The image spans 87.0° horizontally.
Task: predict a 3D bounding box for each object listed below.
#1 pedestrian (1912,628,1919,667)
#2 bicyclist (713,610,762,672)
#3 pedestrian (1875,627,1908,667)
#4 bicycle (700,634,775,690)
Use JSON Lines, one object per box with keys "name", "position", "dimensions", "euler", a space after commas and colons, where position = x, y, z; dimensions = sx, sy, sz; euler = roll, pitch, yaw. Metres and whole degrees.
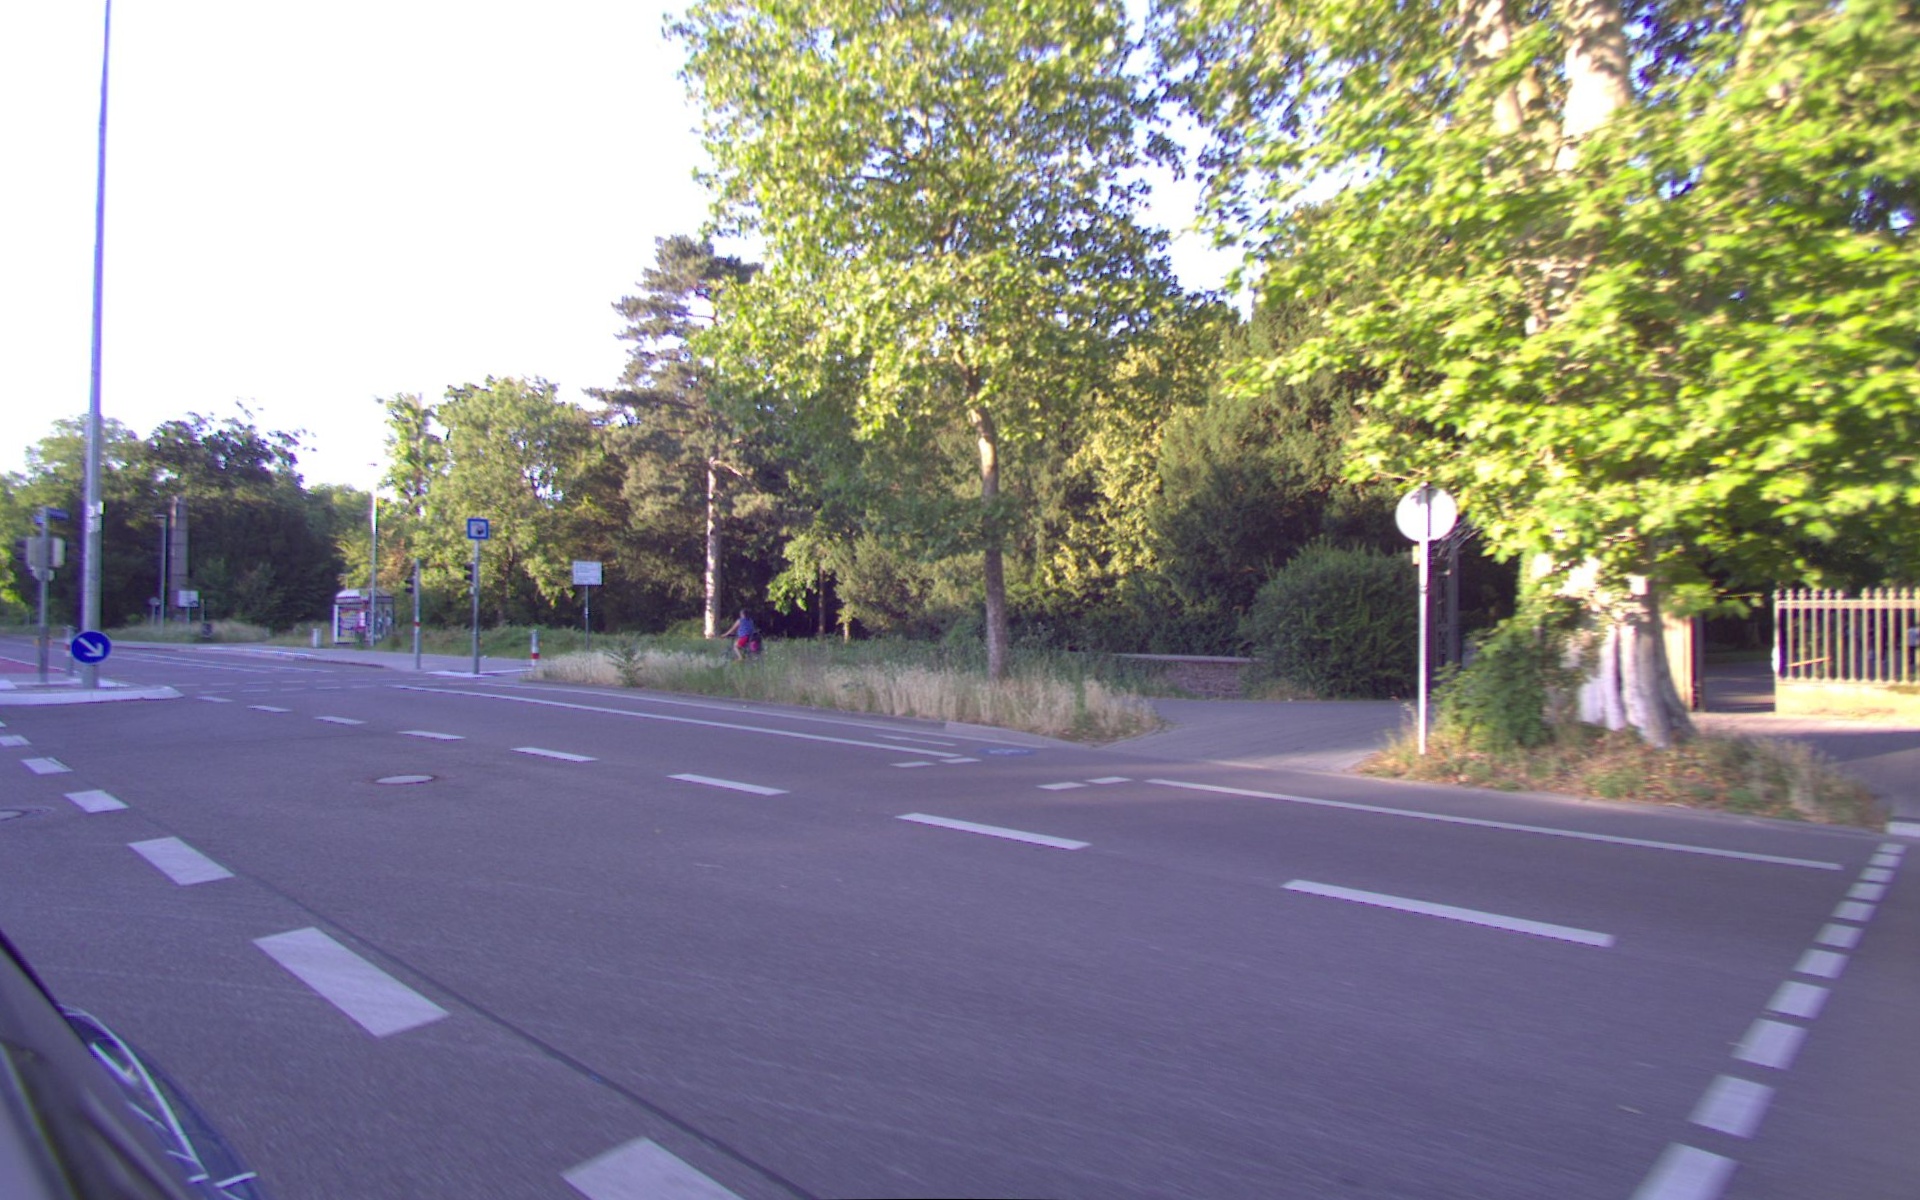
{"name": "pedestrian", "position": [40.926, 2.006, 42.744], "dimensions": [0.861, 1.672, 0.907], "euler": [1, -2, -41]}
{"name": "bicyclist", "position": [-5.363, 0.978, 24.423], "dimensions": [0.892, 1.438, 0.780], "euler": [-1, -2, 43]}
{"name": "pedestrian", "position": [40.055, 2.000, 43.530], "dimensions": [0.861, 1.672, 0.907], "euler": [1, -2, -41]}
{"name": "bicycle", "position": [-5.378, 1.472, 24.429], "dimensions": [1.980, 1.266, 0.780], "euler": [-1, -2, 43]}
